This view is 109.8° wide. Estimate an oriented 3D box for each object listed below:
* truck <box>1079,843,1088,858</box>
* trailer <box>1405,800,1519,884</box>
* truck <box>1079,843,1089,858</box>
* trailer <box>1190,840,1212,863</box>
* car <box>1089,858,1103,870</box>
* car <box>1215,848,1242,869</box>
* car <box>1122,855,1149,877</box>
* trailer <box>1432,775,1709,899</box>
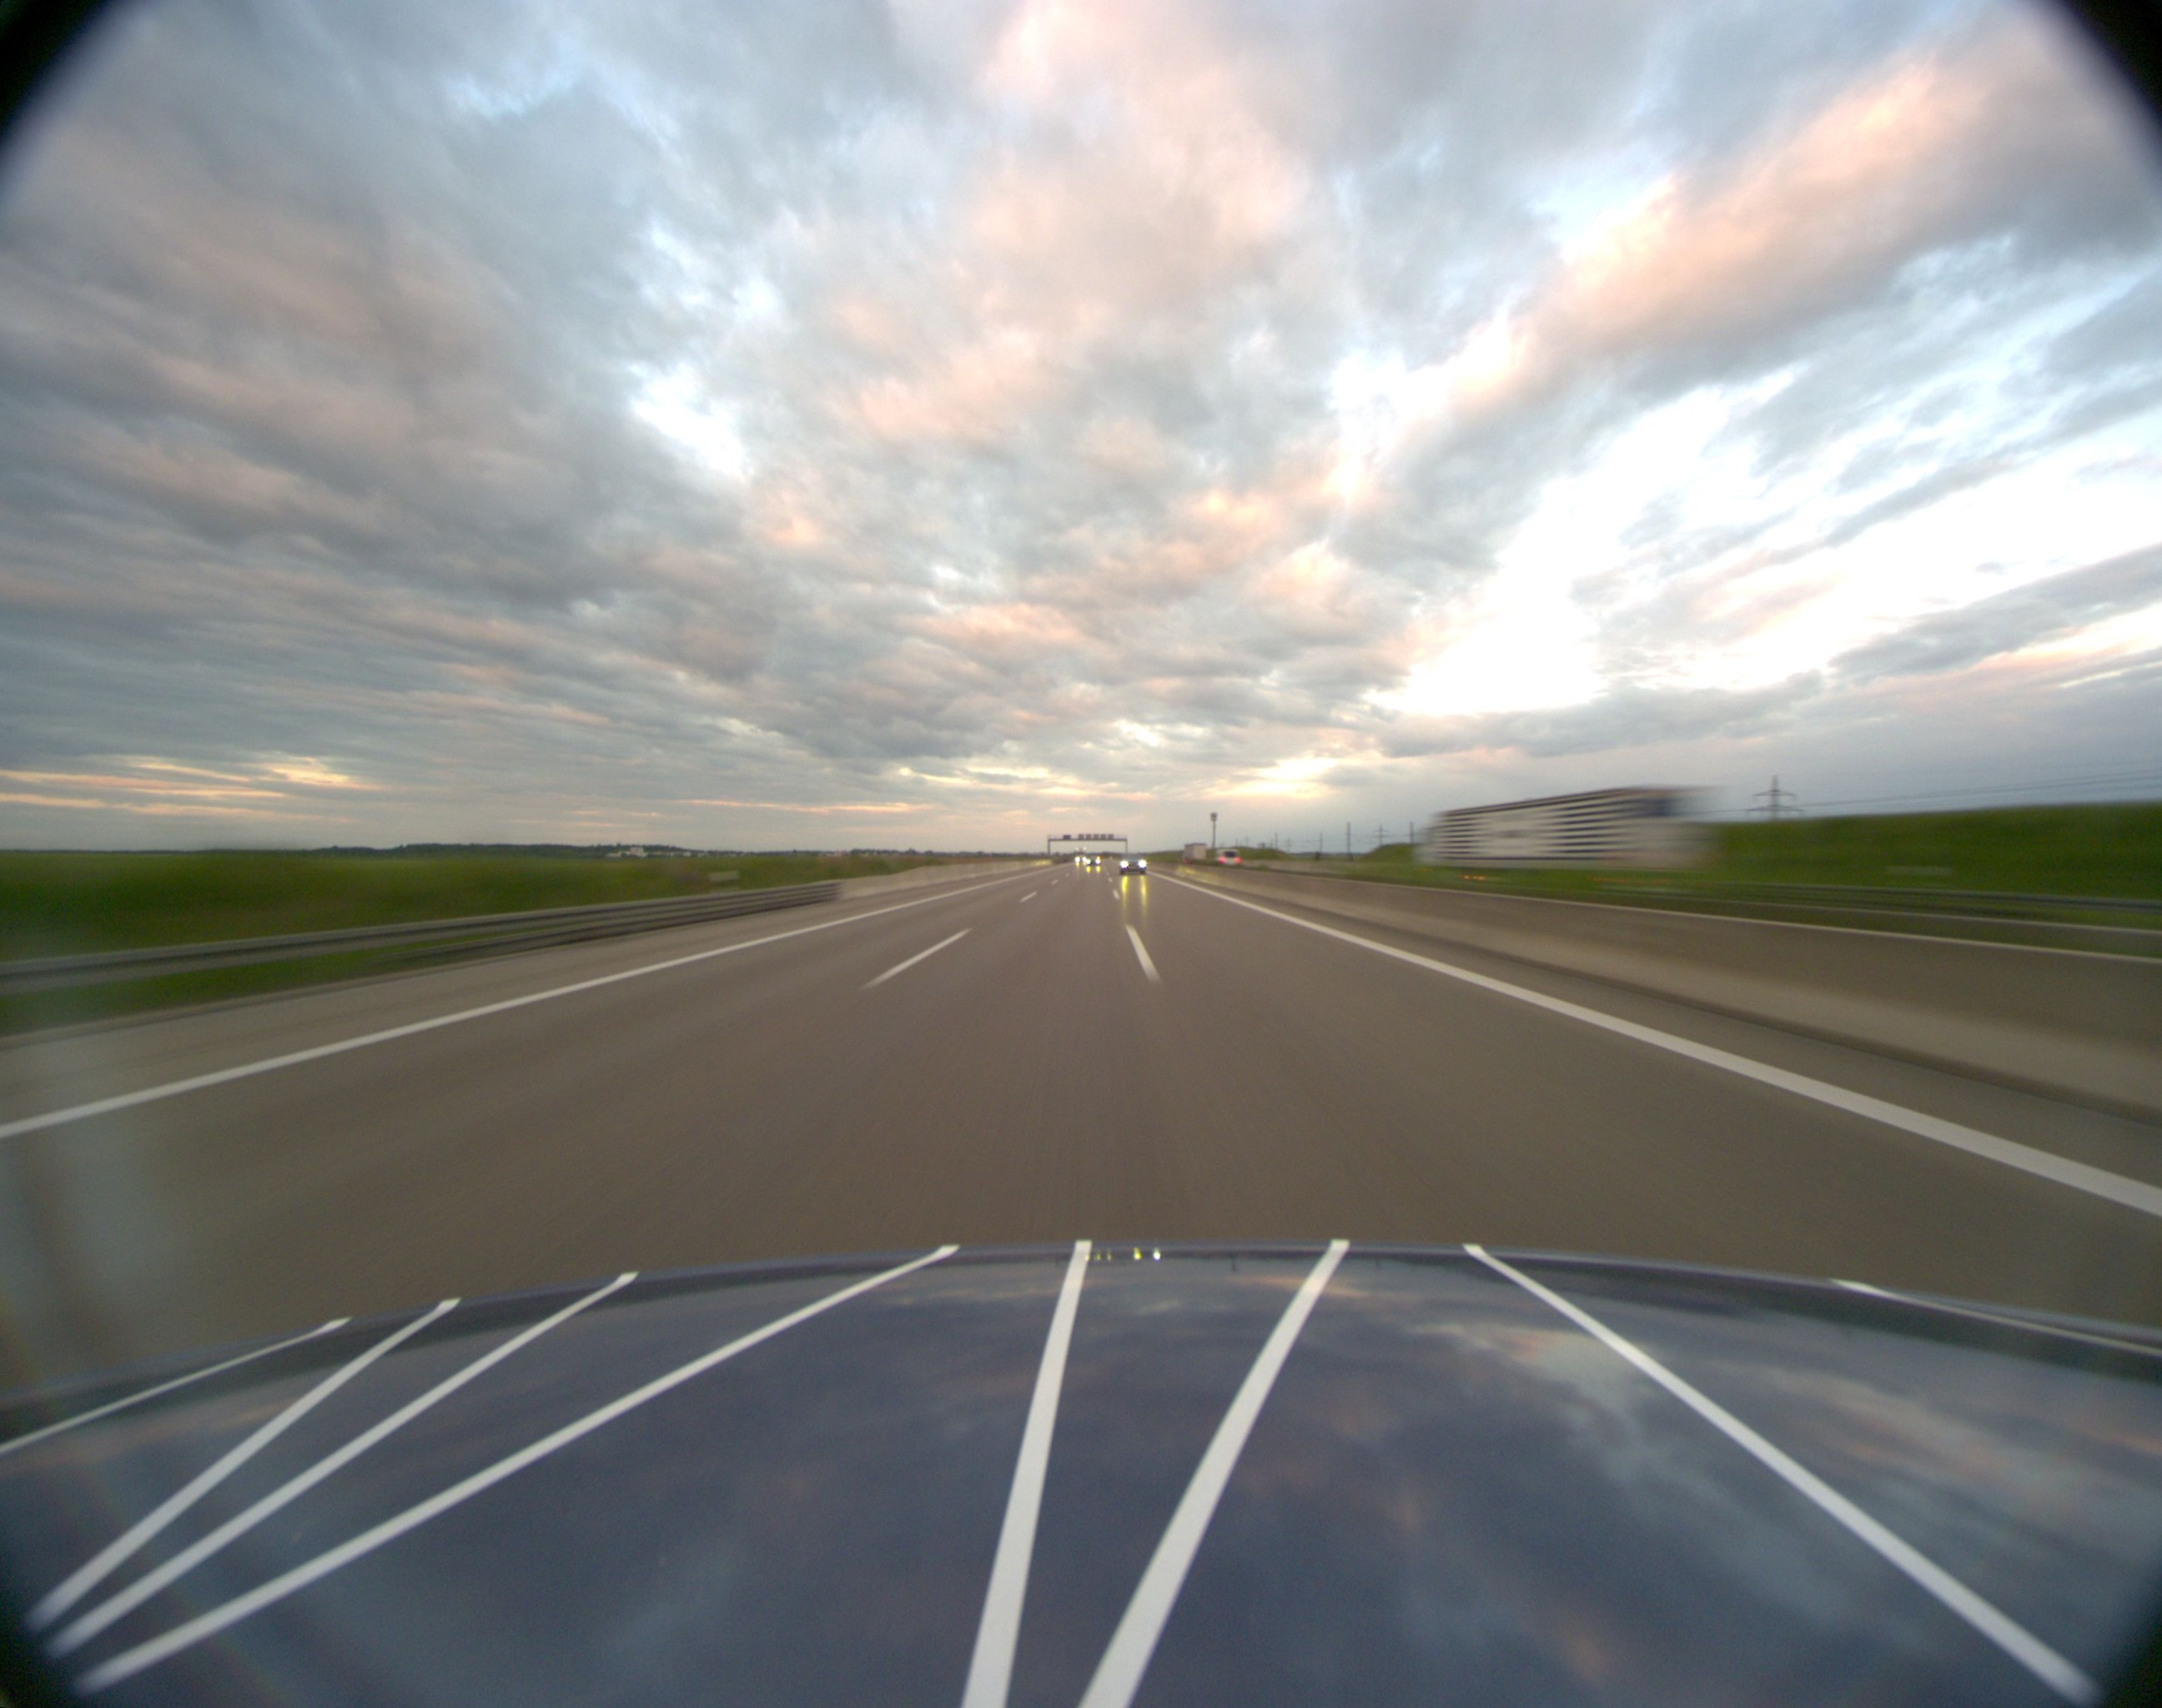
[{"bbox_3d":[0.719,-0.969,217.680,2.596,3.999,5.860,-1,0,1],"label":"truck"},{"bbox_3d":[20.117,-0.586,40.656,2.693,4.091,6.939,1,0,2],"label":"trailer"},{"bbox_3d":[0.813,-0.955,224.007,2.596,3.999,12.987,-1,-1,1],"label":"truck"},{"bbox_3d":[23.622,-0.460,150.012,2.824,4.326,12.842,-2,0,4],"label":"trailer"},{"bbox_3d":[2.265,1.523,116.715,1.998,1.652,4.852,-2,0,2],"label":"car"},{"bbox_3d":[17.447,0.499,90.064,2.132,2.330,6.493,0,0,2],"label":"car"},{"bbox_3d":[4.437,0.928,62.271,1.998,1.652,4.001,-2,0,2],"label":"car"},{"bbox_3d":[19.889,-0.585,33.016,2.693,4.091,15.111,1,0,2],"label":"trailer"}]
